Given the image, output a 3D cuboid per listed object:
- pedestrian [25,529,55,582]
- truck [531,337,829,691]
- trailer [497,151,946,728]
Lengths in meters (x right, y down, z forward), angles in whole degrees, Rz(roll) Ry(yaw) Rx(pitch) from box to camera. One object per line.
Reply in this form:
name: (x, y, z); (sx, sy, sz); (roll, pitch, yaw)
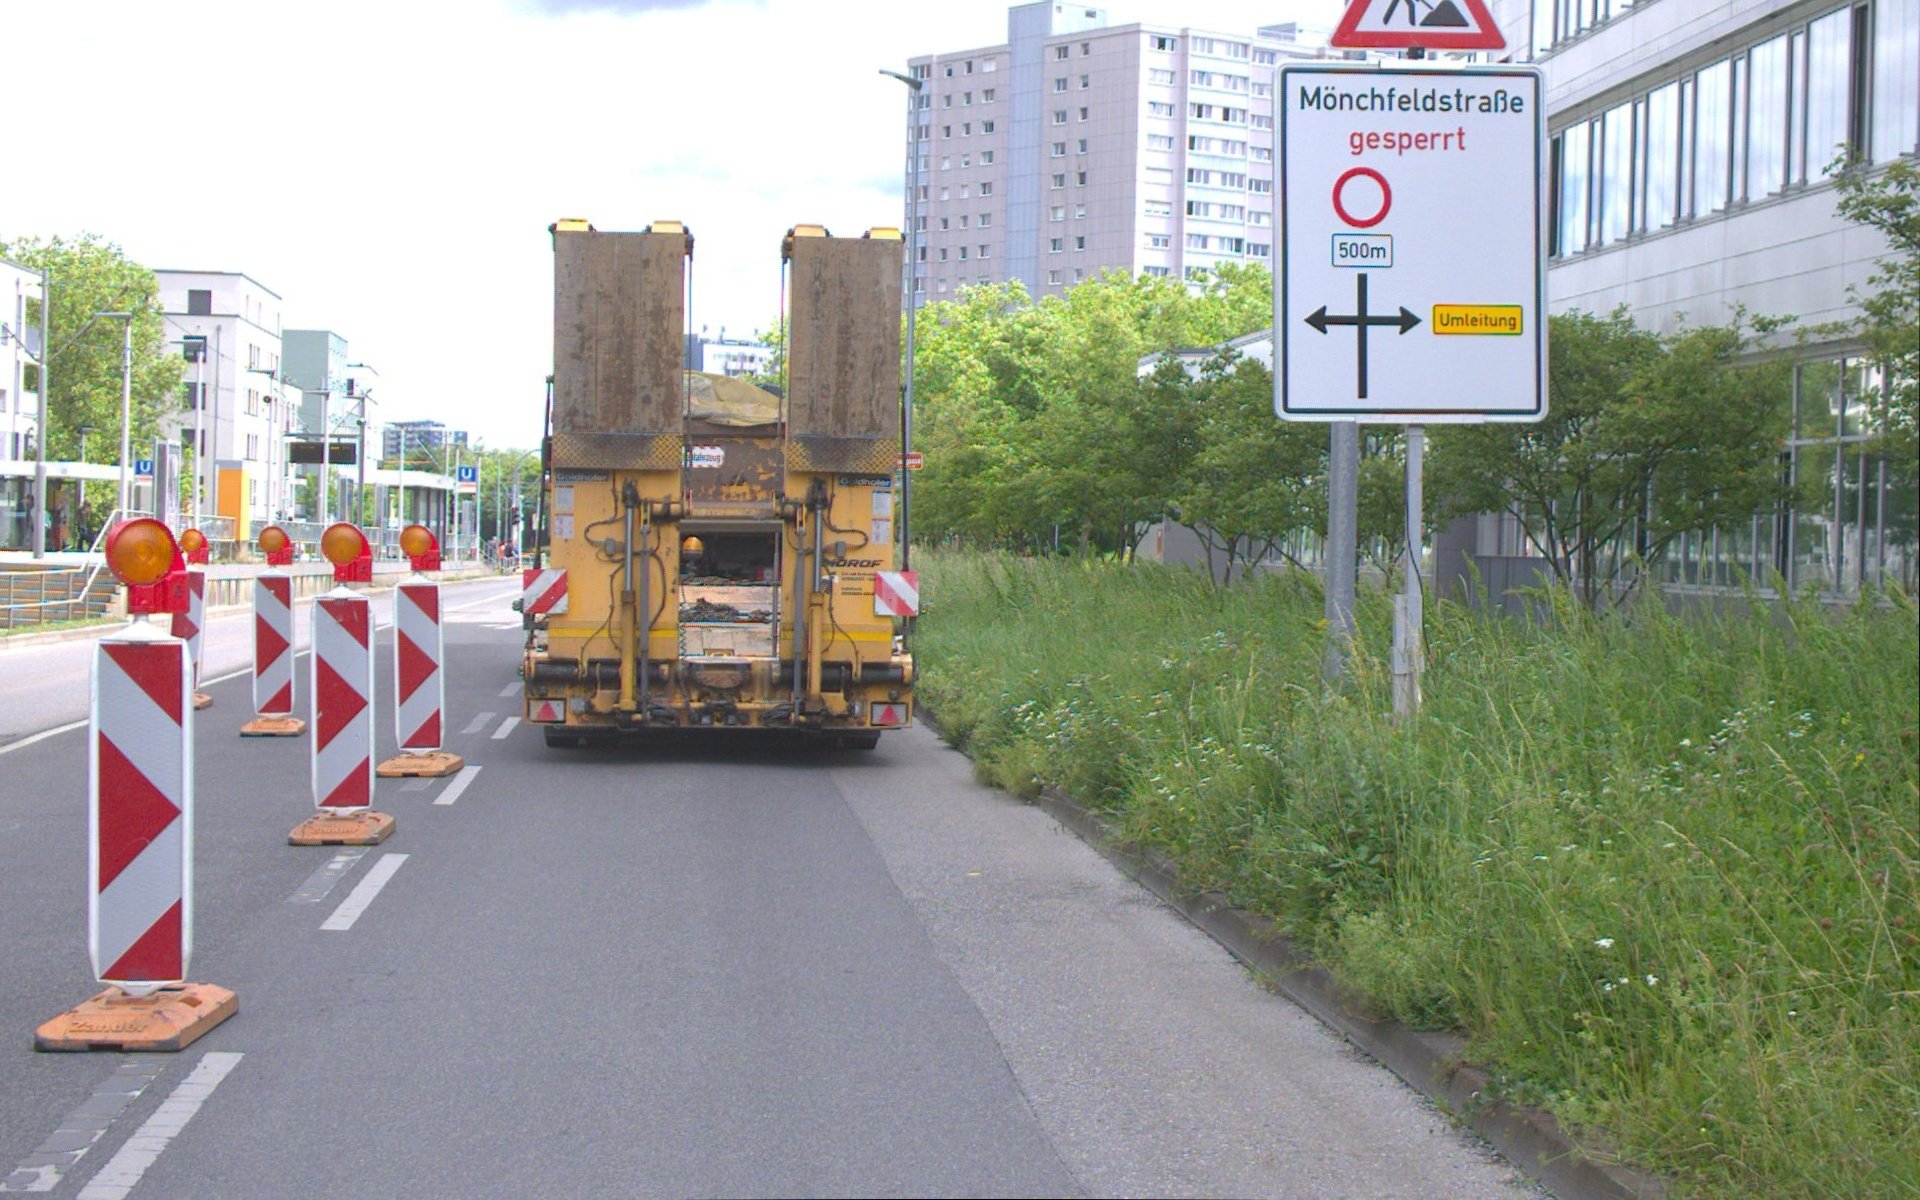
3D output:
pedestrian: (-27.706, -1.337, 103.553); (0.488, 1.591, 0.676); (2, 1, 31)
truck: (-2.956, -0.873, 37.003); (2.753, 3.302, 8.353); (1, 1, -4)
trailer: (-2.050, -1.075, 27.208); (2.728, 3.546, 11.256); (1, 1, -6)
